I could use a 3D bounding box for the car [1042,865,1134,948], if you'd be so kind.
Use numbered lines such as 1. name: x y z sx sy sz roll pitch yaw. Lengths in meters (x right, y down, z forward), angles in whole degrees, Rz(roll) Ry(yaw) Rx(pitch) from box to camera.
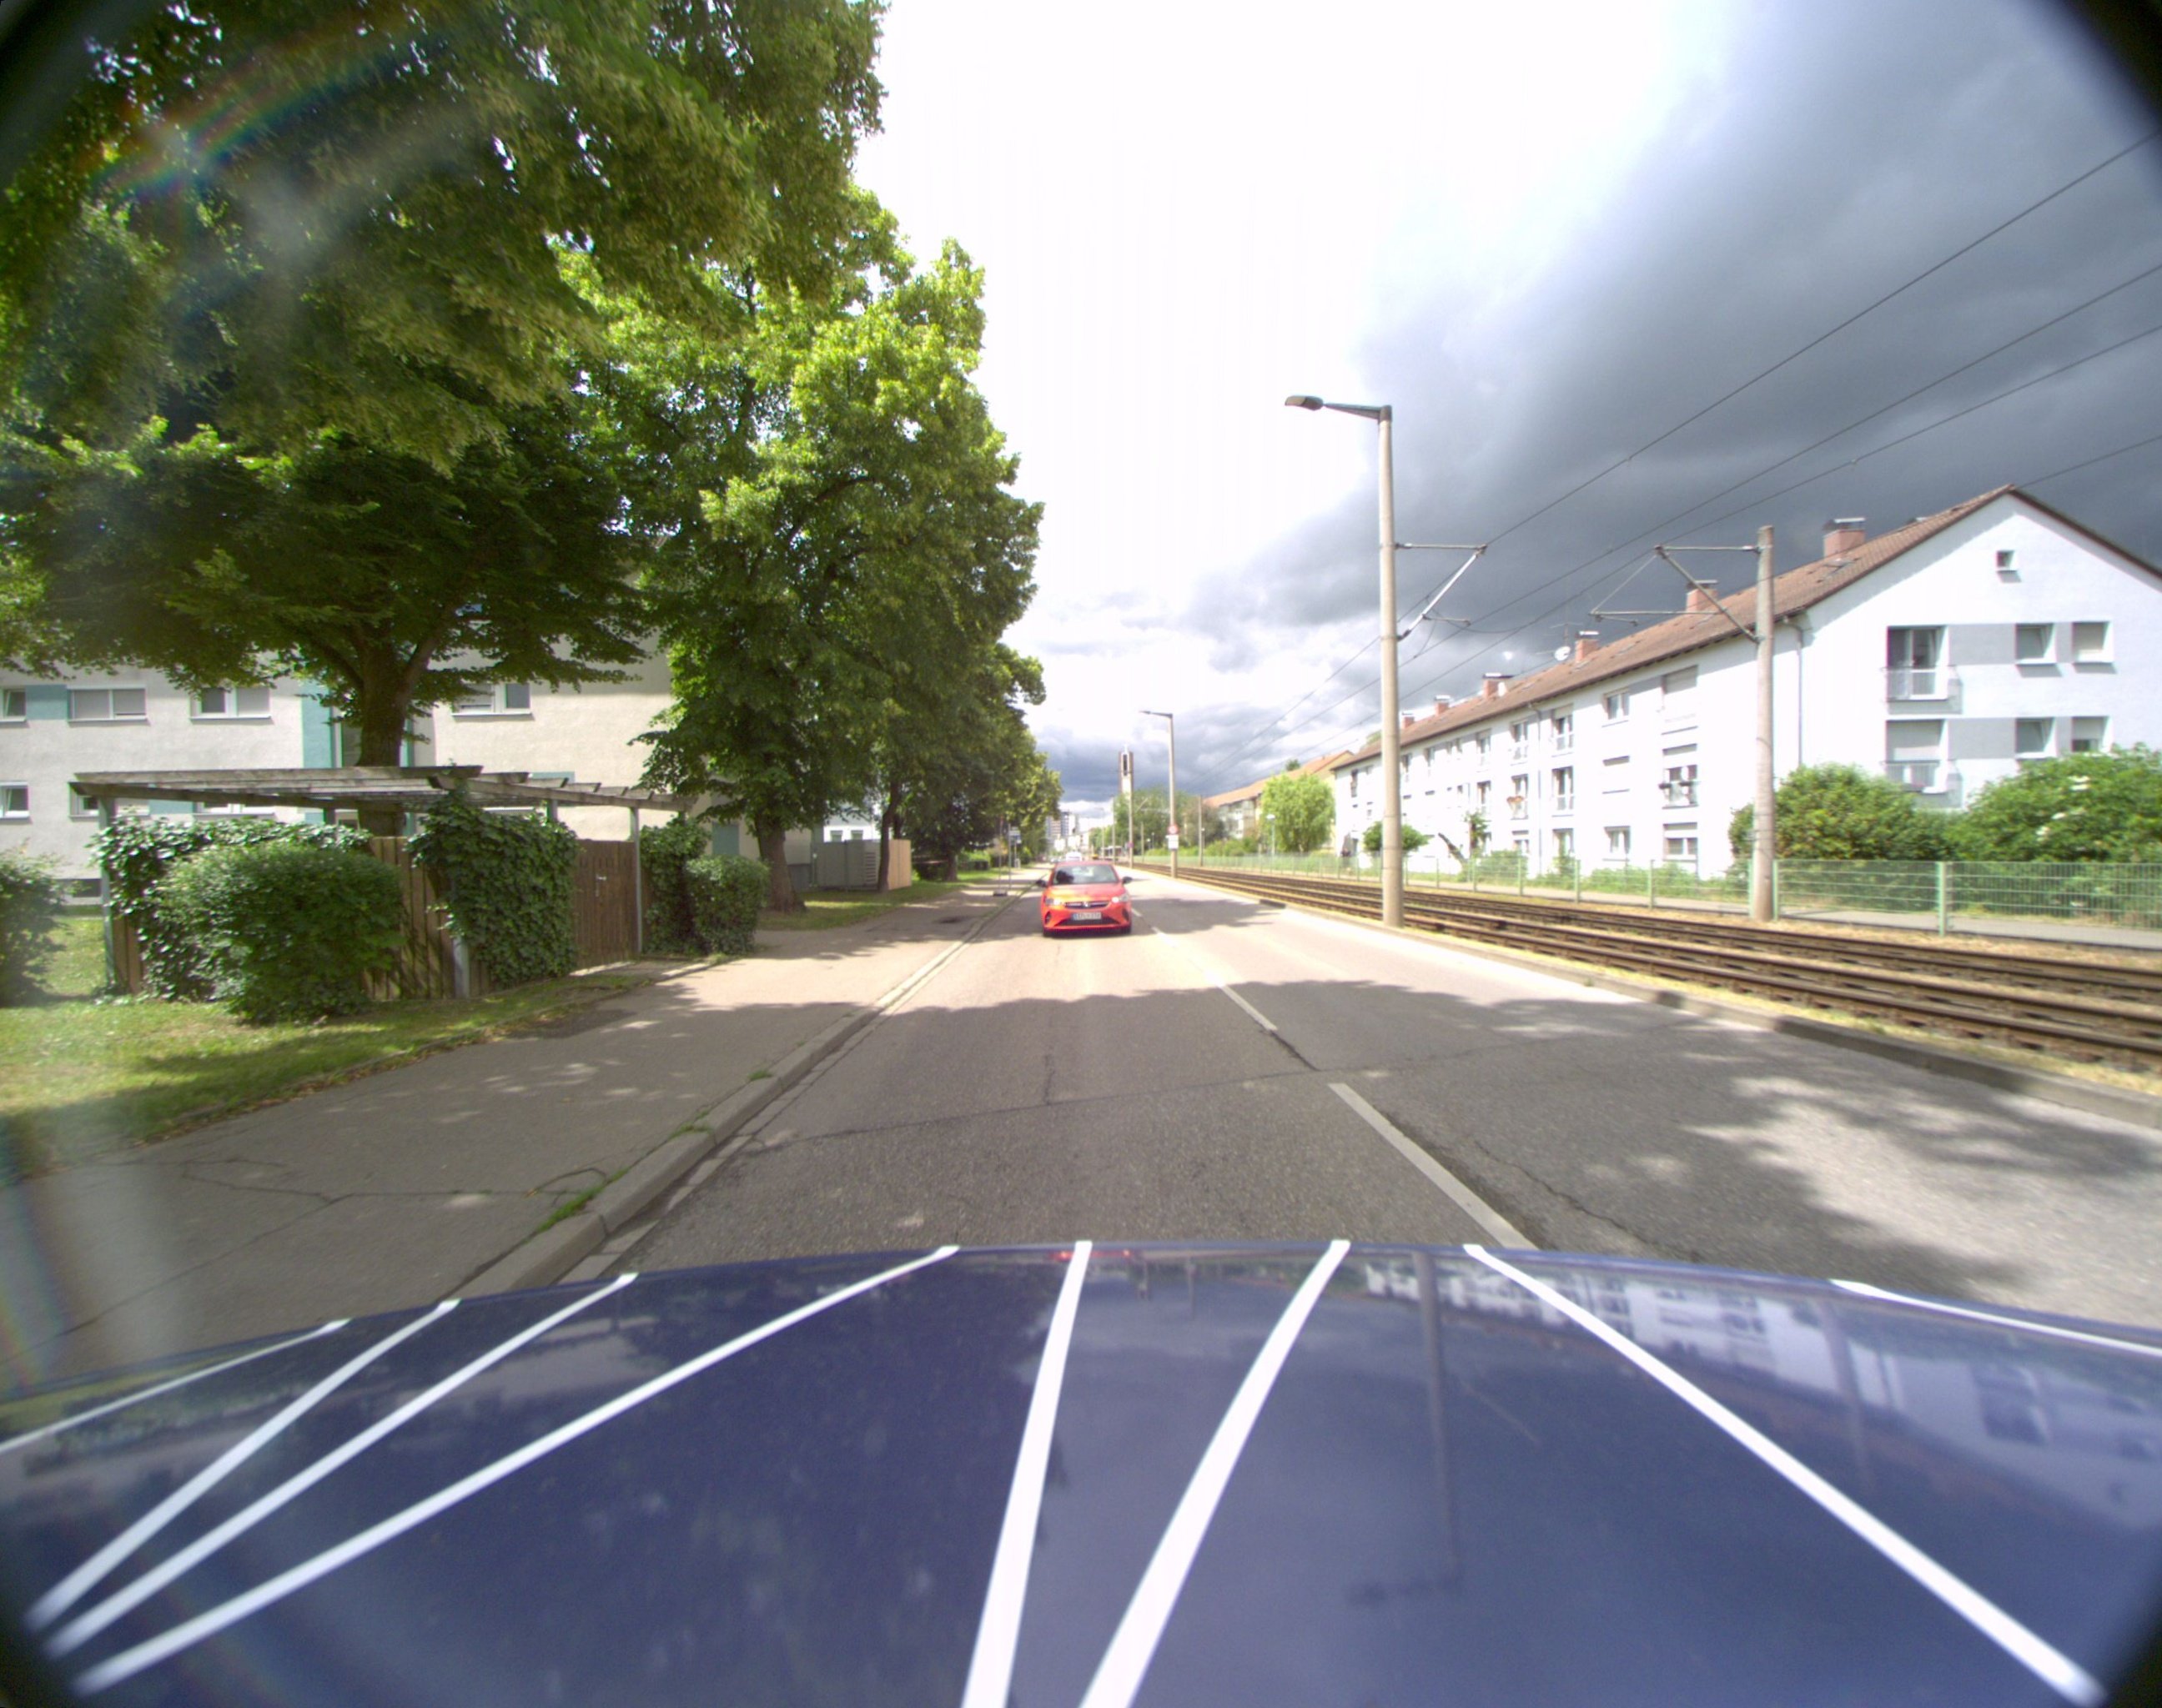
1. car: 0.137 1.022 16.497 1.766 1.548 4.000 0 0 0

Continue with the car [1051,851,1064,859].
1. car: -4.442 0.173 145.467 1.917 1.309 4.002 0 1 7

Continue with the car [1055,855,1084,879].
1. car: -0.711 0.766 47.340 1.764 1.390 3.999 0 1 -1

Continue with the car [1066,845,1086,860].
1. car: -0.516 -0.147 81.694 1.999 1.598 3.998 0 1 -2
